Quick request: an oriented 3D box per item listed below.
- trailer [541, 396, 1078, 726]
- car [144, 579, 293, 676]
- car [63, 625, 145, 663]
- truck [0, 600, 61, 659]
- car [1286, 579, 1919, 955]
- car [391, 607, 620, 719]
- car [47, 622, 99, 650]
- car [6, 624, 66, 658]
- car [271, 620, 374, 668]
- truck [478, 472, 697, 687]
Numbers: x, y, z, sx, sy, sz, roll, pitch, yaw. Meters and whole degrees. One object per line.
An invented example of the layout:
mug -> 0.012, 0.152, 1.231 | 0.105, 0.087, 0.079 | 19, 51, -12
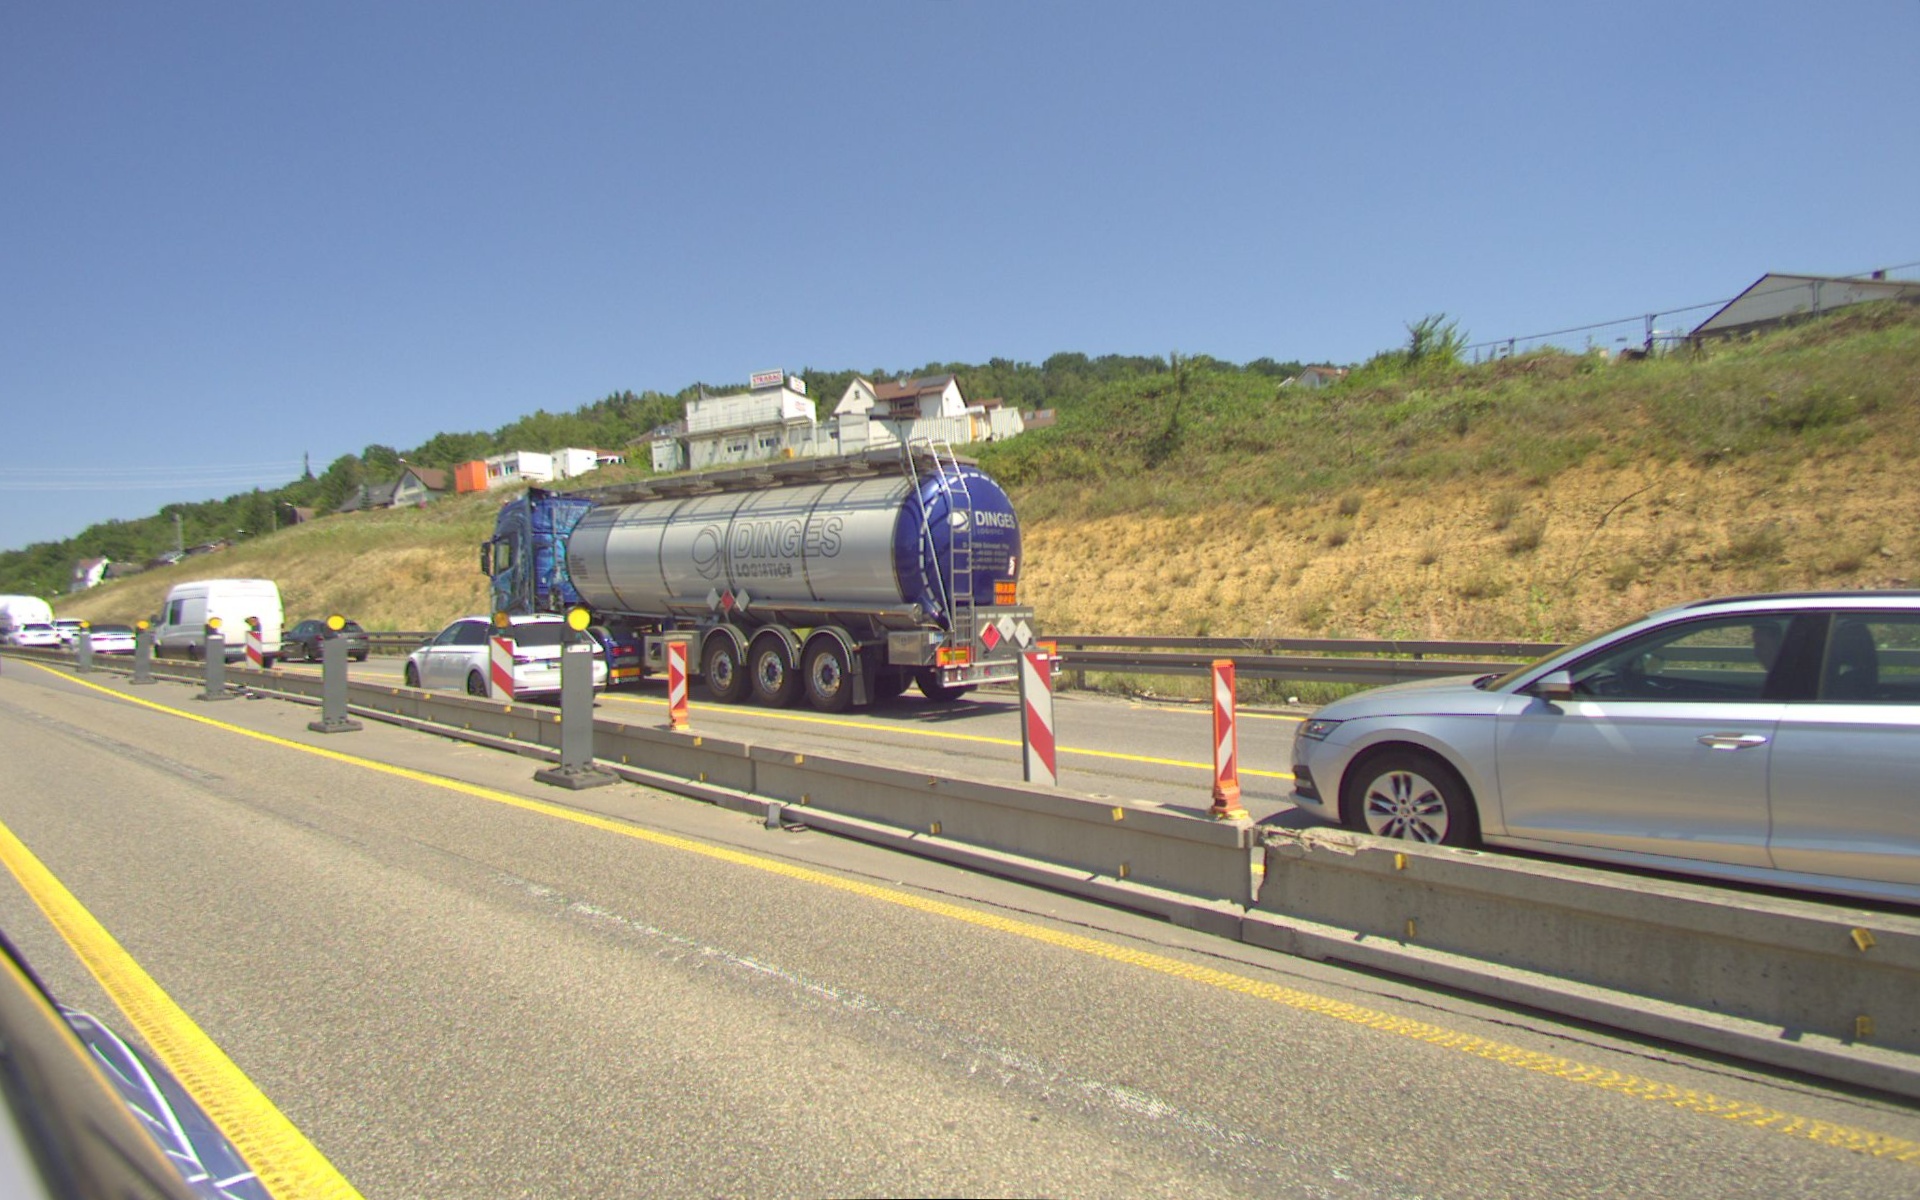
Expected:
trailer -> -3.323, -0.413, 16.869 | 11.278, 3.900, 2.570 | -1, 0, 45
car -> -22.662, 0.815, 30.792 | 6.623, 2.649, 2.183 | -2, -1, 40
car -> -34.102, 1.735, 40.287 | 4.386, 1.387, 1.815 | -2, -1, 40
truck -> -71.046, 2.157, 76.498 | 13.152, 4.077, 3.075 | -1, 0, 41
car -> 4.089, 0.639, 4.752 | 1.813, 1.440, 4.537 | -1, -1, -45
car -> -7.534, 0.938, 16.510 | 1.813, 1.530, 4.846 | -1, -1, -45
car -> -55.928, 2.259, 63.795 | 4.386, 1.648, 1.815 | -2, -1, 40
car -> -49.029, 2.148, 53.691 | 4.386, 1.648, 1.815 | -2, -1, 40
car -> -21.790, 1.481, 34.532 | 4.387, 1.502, 1.814 | -2, -1, 41
truck -> -7.942, -0.361, 21.388 | 4.589, 4.007, 2.554 | -1, 0, 43
